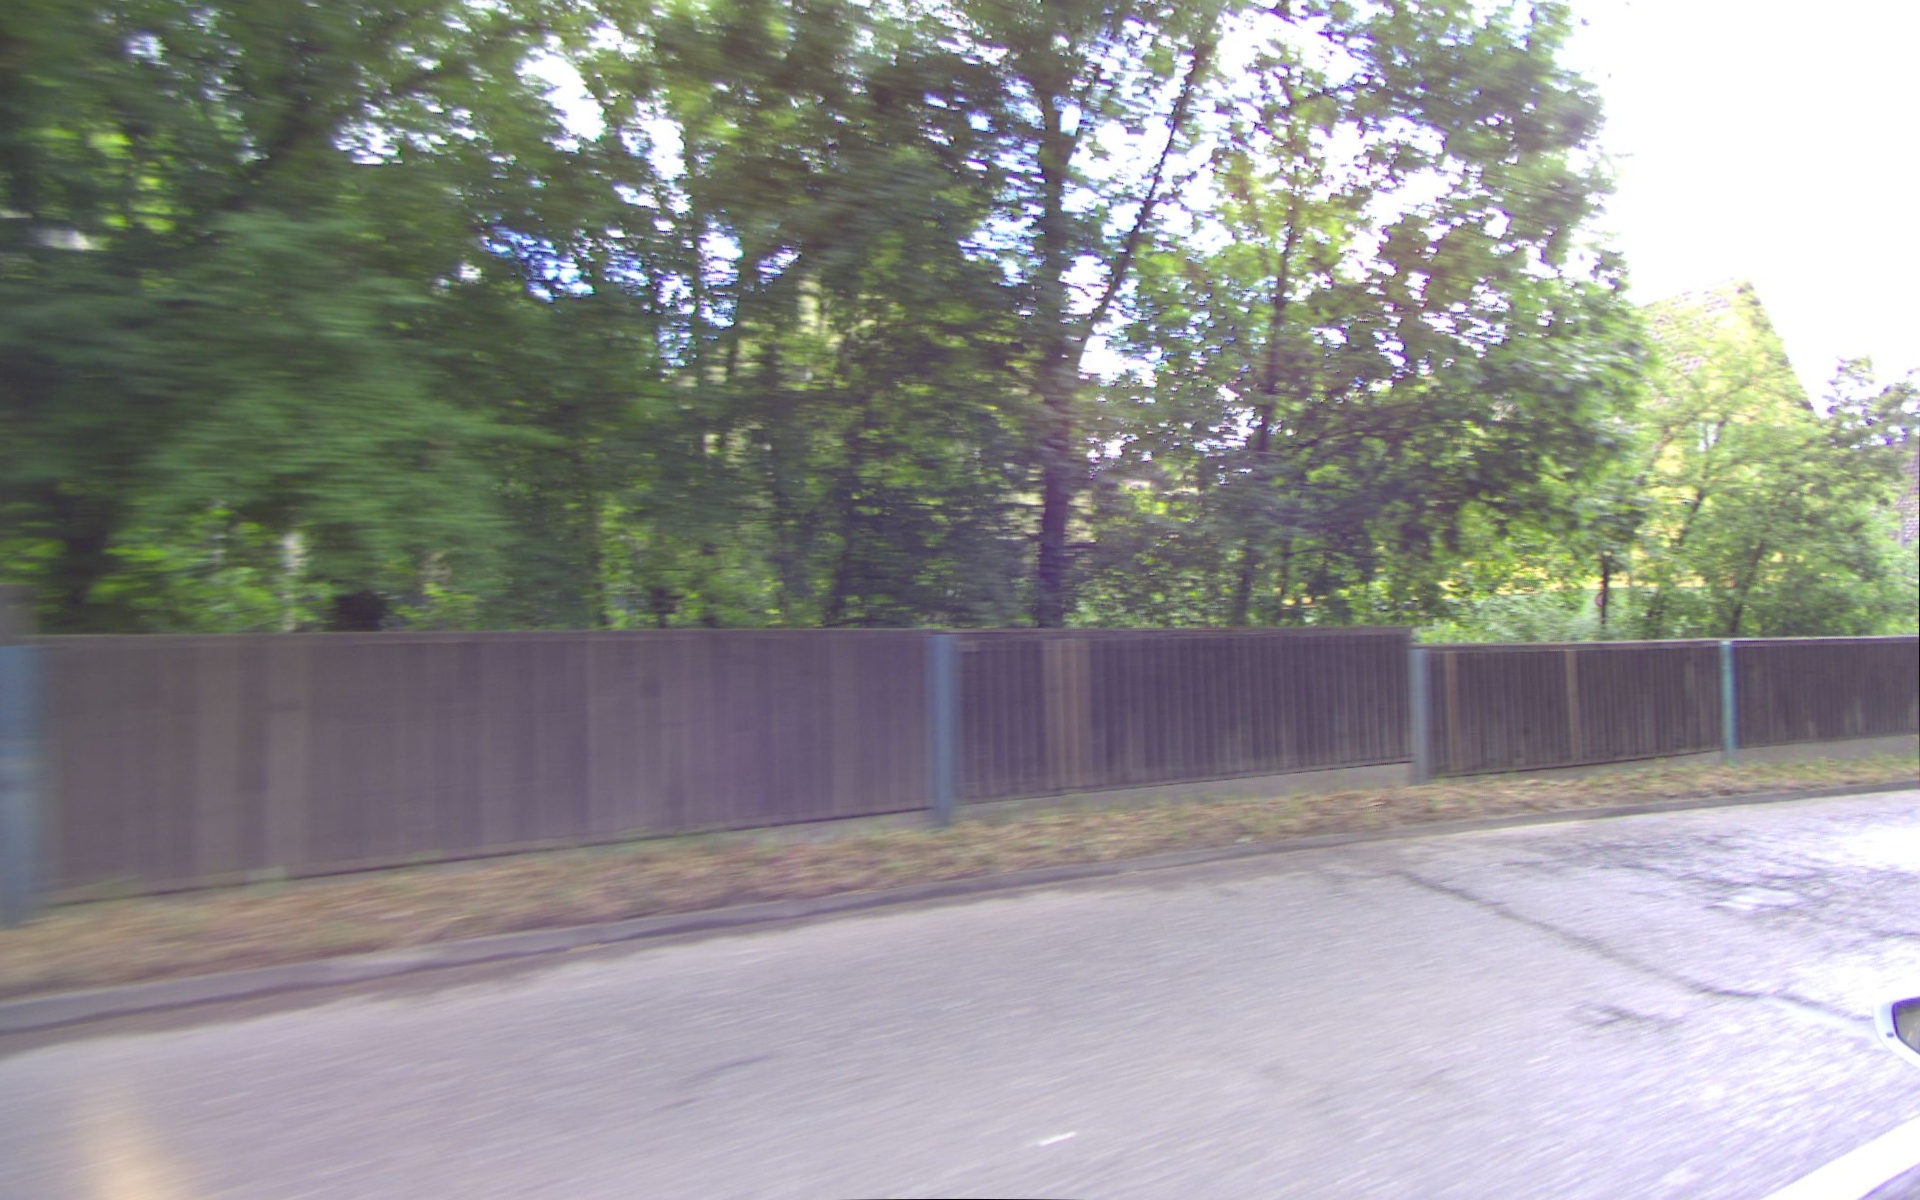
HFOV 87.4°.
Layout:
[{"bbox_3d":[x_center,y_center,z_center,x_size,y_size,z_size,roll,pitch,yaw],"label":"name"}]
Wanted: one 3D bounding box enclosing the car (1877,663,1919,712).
[{"bbox_3d":[28.605,2.472,28.724,4.086,1.362,1.645,1,-4,-18],"label":"car"}]
